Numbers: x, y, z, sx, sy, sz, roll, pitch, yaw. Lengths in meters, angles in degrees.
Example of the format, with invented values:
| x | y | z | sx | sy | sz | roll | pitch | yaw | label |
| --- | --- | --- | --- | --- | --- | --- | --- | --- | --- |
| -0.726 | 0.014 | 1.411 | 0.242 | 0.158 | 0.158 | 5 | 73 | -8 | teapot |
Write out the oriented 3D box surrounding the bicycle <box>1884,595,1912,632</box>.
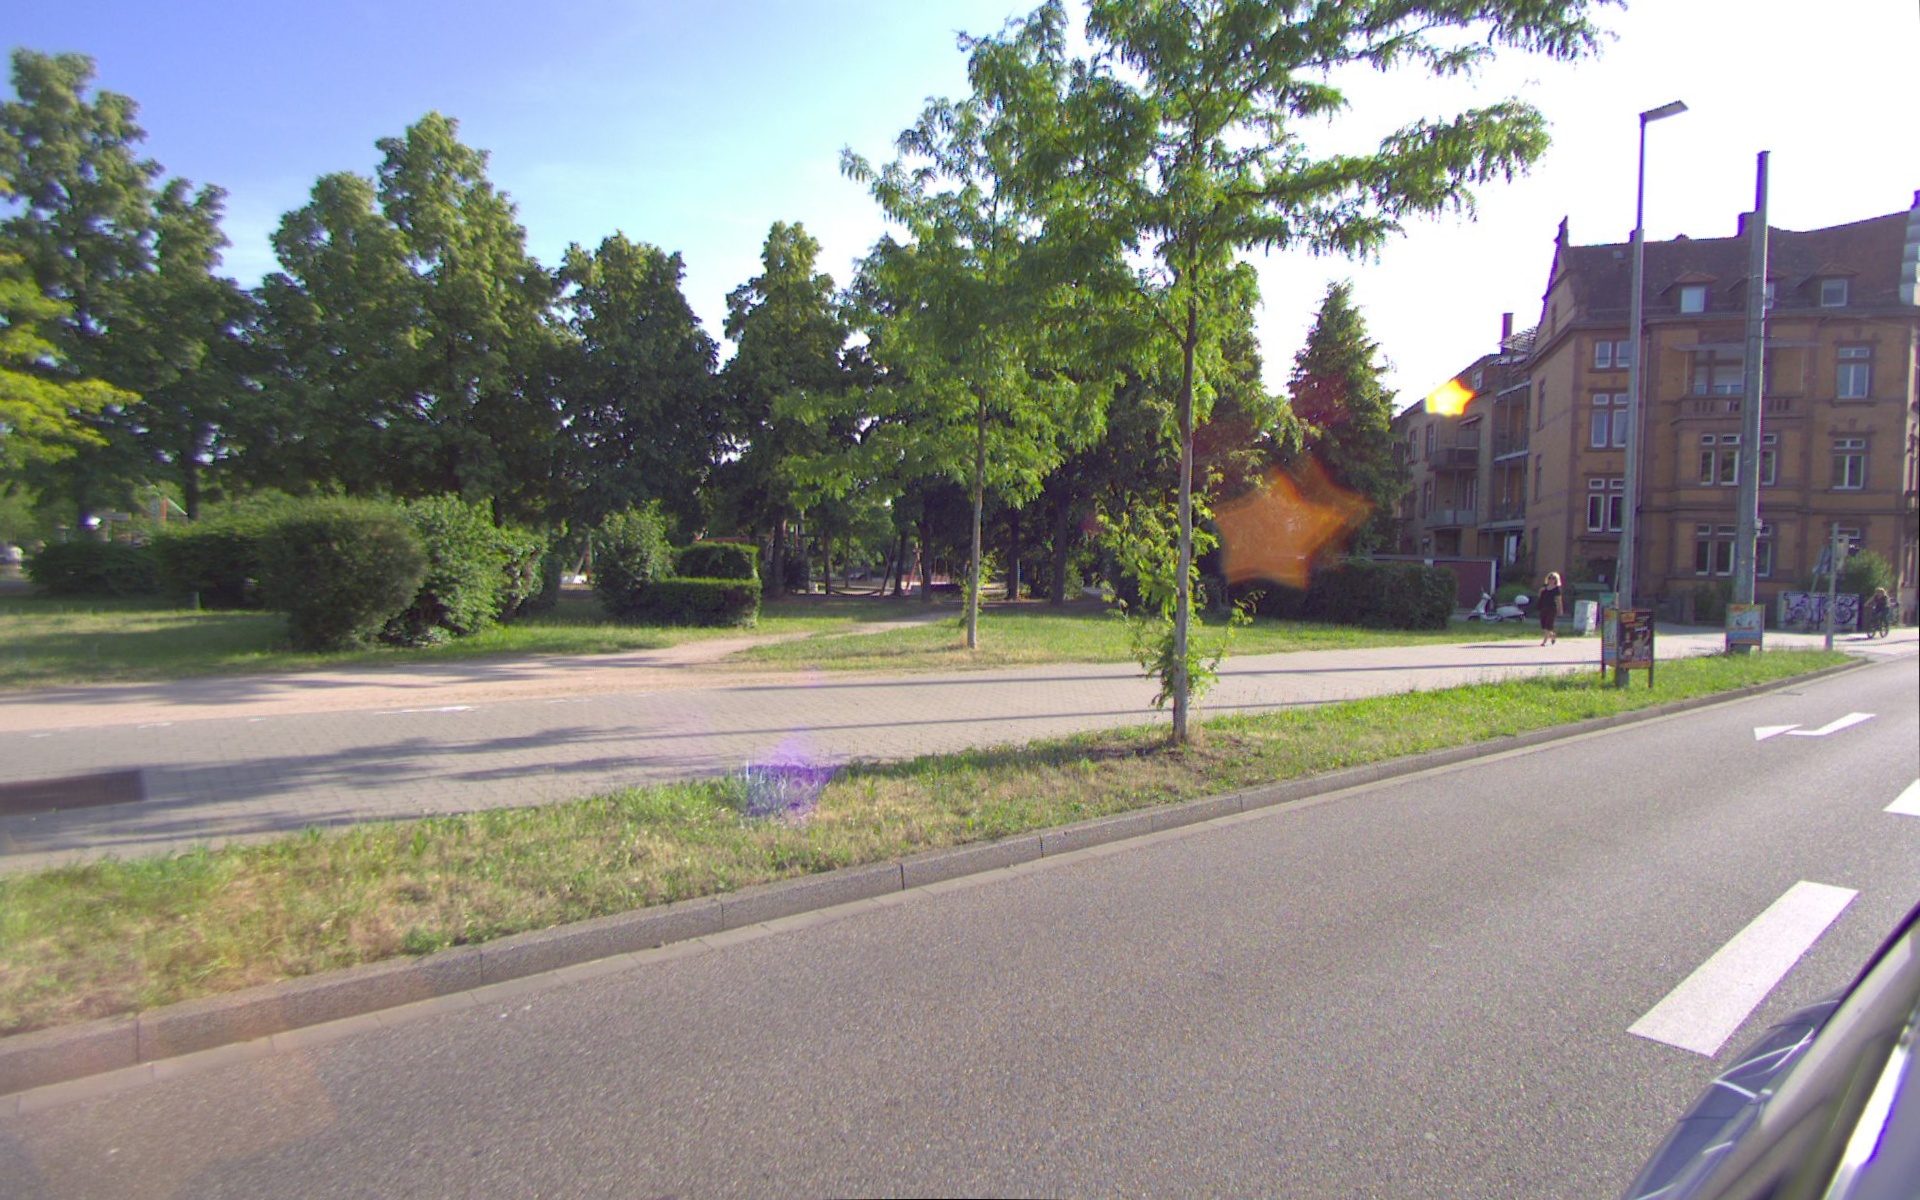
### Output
| x | y | z | sx | sy | sz | roll | pitch | yaw | label |
| --- | --- | --- | --- | --- | --- | --- | --- | --- | --- |
| 31.439 | 0.431 | 33.920 | 1.315 | 1.205 | 0.484 | 0 | 1 | -39 | bicycle |

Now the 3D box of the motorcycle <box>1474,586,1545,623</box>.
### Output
| x | y | z | sx | sy | sz | roll | pitch | yaw | label |
| --- | --- | --- | --- | --- | --- | --- | --- | --- | --- |
| 18.559 | 0.138 | 34.198 | 0.696 | 1.174 | 1.997 | 0 | 1 | -45 | motorcycle |

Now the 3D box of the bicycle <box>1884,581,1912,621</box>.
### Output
| x | y | z | sx | sy | sz | roll | pitch | yaw | label |
| --- | --- | --- | --- | --- | --- | --- | --- | --- | --- |
| 31.429 | 0.017 | 33.899 | 0.676 | 1.314 | 0.574 | 1 | 1 | -39 | bicycle |

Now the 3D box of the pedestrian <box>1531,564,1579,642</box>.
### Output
| x | y | z | sx | sy | sz | roll | pitch | yaw | label |
| --- | --- | --- | --- | --- | --- | --- | --- | --- | --- |
| 13.790 | 0.063 | 23.475 | 0.538 | 1.711 | 0.617 | 1 | 6 | -36 | pedestrian |
